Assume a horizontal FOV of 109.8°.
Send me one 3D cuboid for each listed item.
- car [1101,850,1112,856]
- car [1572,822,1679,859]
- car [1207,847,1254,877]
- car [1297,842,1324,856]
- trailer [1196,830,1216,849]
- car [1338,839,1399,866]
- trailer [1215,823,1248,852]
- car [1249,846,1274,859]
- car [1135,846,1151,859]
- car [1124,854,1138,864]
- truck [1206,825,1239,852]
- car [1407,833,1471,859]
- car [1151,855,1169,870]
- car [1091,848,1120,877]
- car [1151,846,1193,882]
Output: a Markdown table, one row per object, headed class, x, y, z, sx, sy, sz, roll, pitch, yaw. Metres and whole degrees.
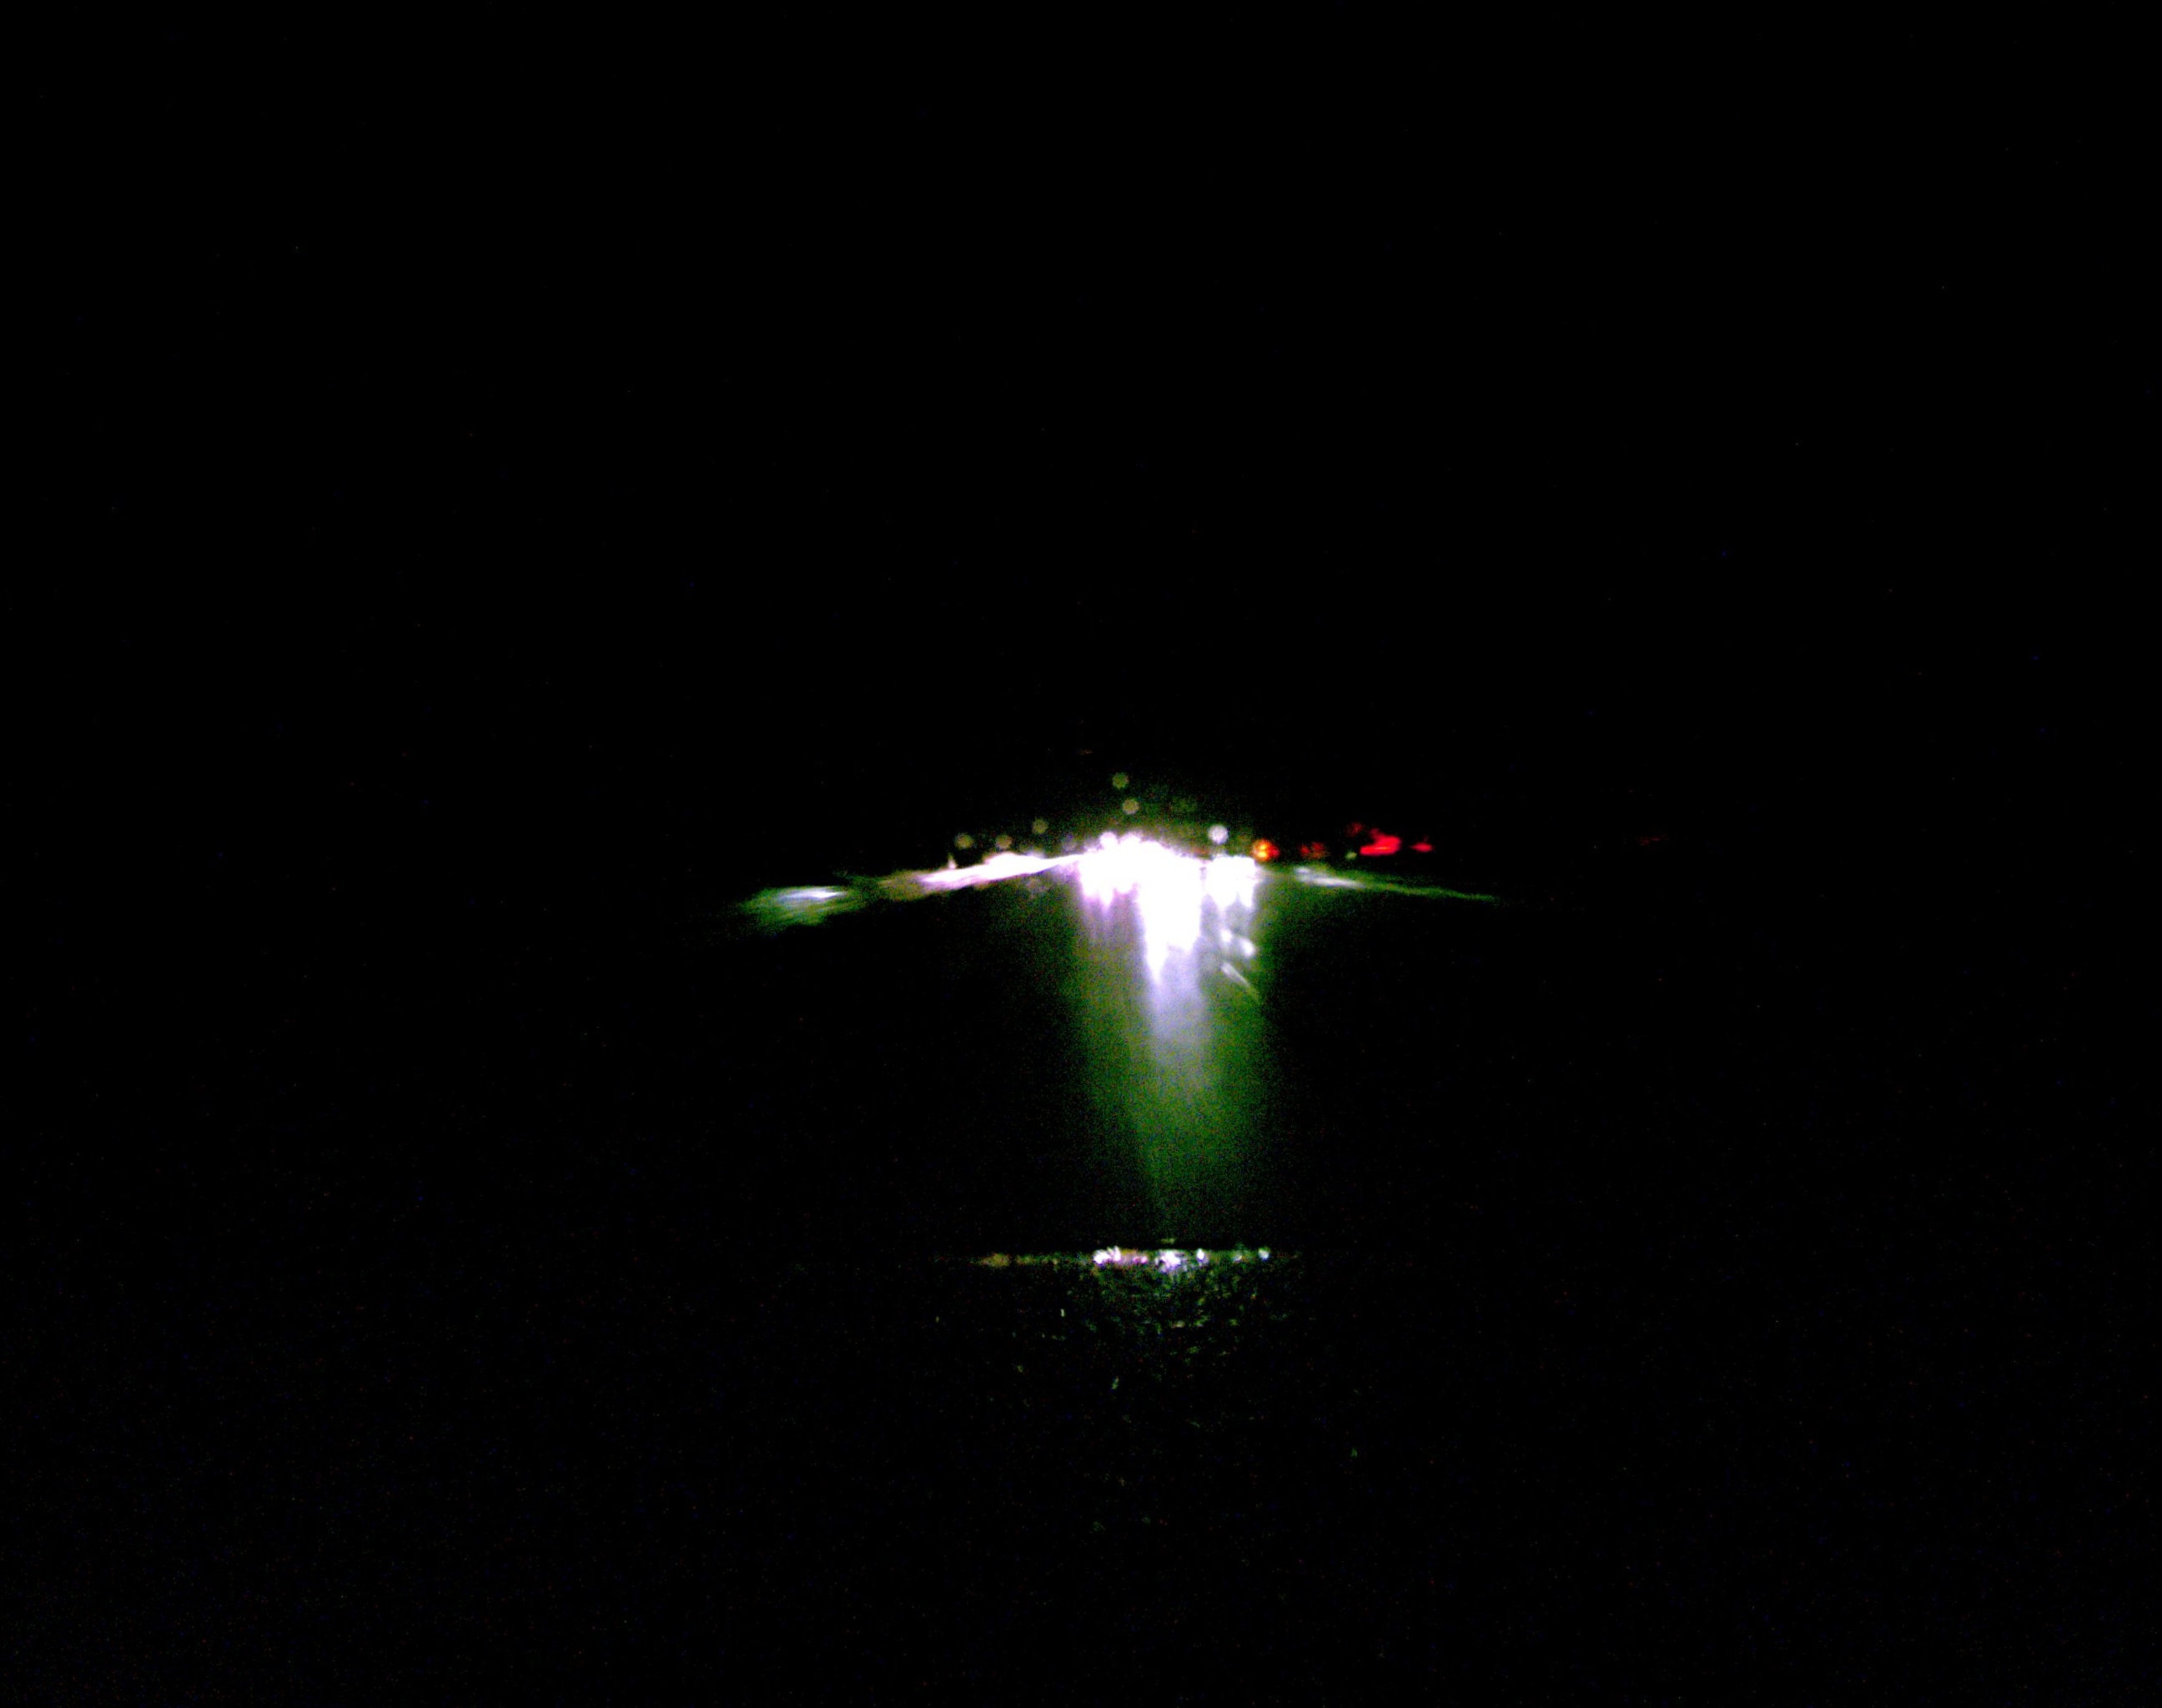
| class | x | y | z | sx | sy | sz | roll | pitch | yaw |
| --- | --- | --- | --- | --- | --- | --- | --- | --- | --- |
| car | 5.438 | -0.267 | 162.501 | 1.998 | 1.149 | 4.001 | -2 | 1 | 5 |
| car | 24.868 | -0.614 | 34.899 | 1.965 | 1.456 | 3.999 | -4 | 1 | -1 |
| car | 8.949 | 0.454 | 45.680 | 2.309 | 1.600 | 3.872 | -2 | 1 | 5 |
| car | 26.227 | -0.575 | 87.104 | 1.884 | 1.456 | 4.298 | -4 | 1 | 2 |
| trailer | 38.029 | -4.330 | 231.581 | 4.177 | 5.413 | 13.747 | -2 | 1 | 3 |
| car | 16.854 | -0.109 | 44.707 | 1.977 | 1.456 | 3.999 | -2 | 1 | -1 |
| trailer | 29.637 | -3.176 | 150.346 | 4.350 | 5.111 | 8.995 | -6 | 0 | 1 |
| car | 22.535 | -0.264 | 95.056 | 1.977 | 1.456 | 4.898 | -4 | 1 | 1 |
| car | 9.443 | -0.262 | 115.780 | 1.998 | 1.745 | 3.999 | -4 | 1 | 0 |
| car | 6.266 | 0.651 | 94.832 | 1.692 | 1.149 | 3.421 | -2 | 1 | 4 |
| truck | 29.720 | -3.254 | 160.151 | 4.350 | 5.111 | 10.471 | -6 | 0 | 0 |
| car | 21.704 | -0.496 | 46.241 | 1.977 | 1.456 | 3.999 | -2 | 1 | -1 |
| car | 10.167 | 1.069 | 98.372 | 1.998 | 1.667 | 4.000 | -2 | 1 | 3 |
| car | 1.901 | 0.630 | 56.948 | 1.998 | 2.002 | 4.000 | -2 | 1 | 3 |
| car | 4.695 | 0.481 | 39.415 | 1.998 | 1.667 | 4.001 | -2 | 1 | 6 |
